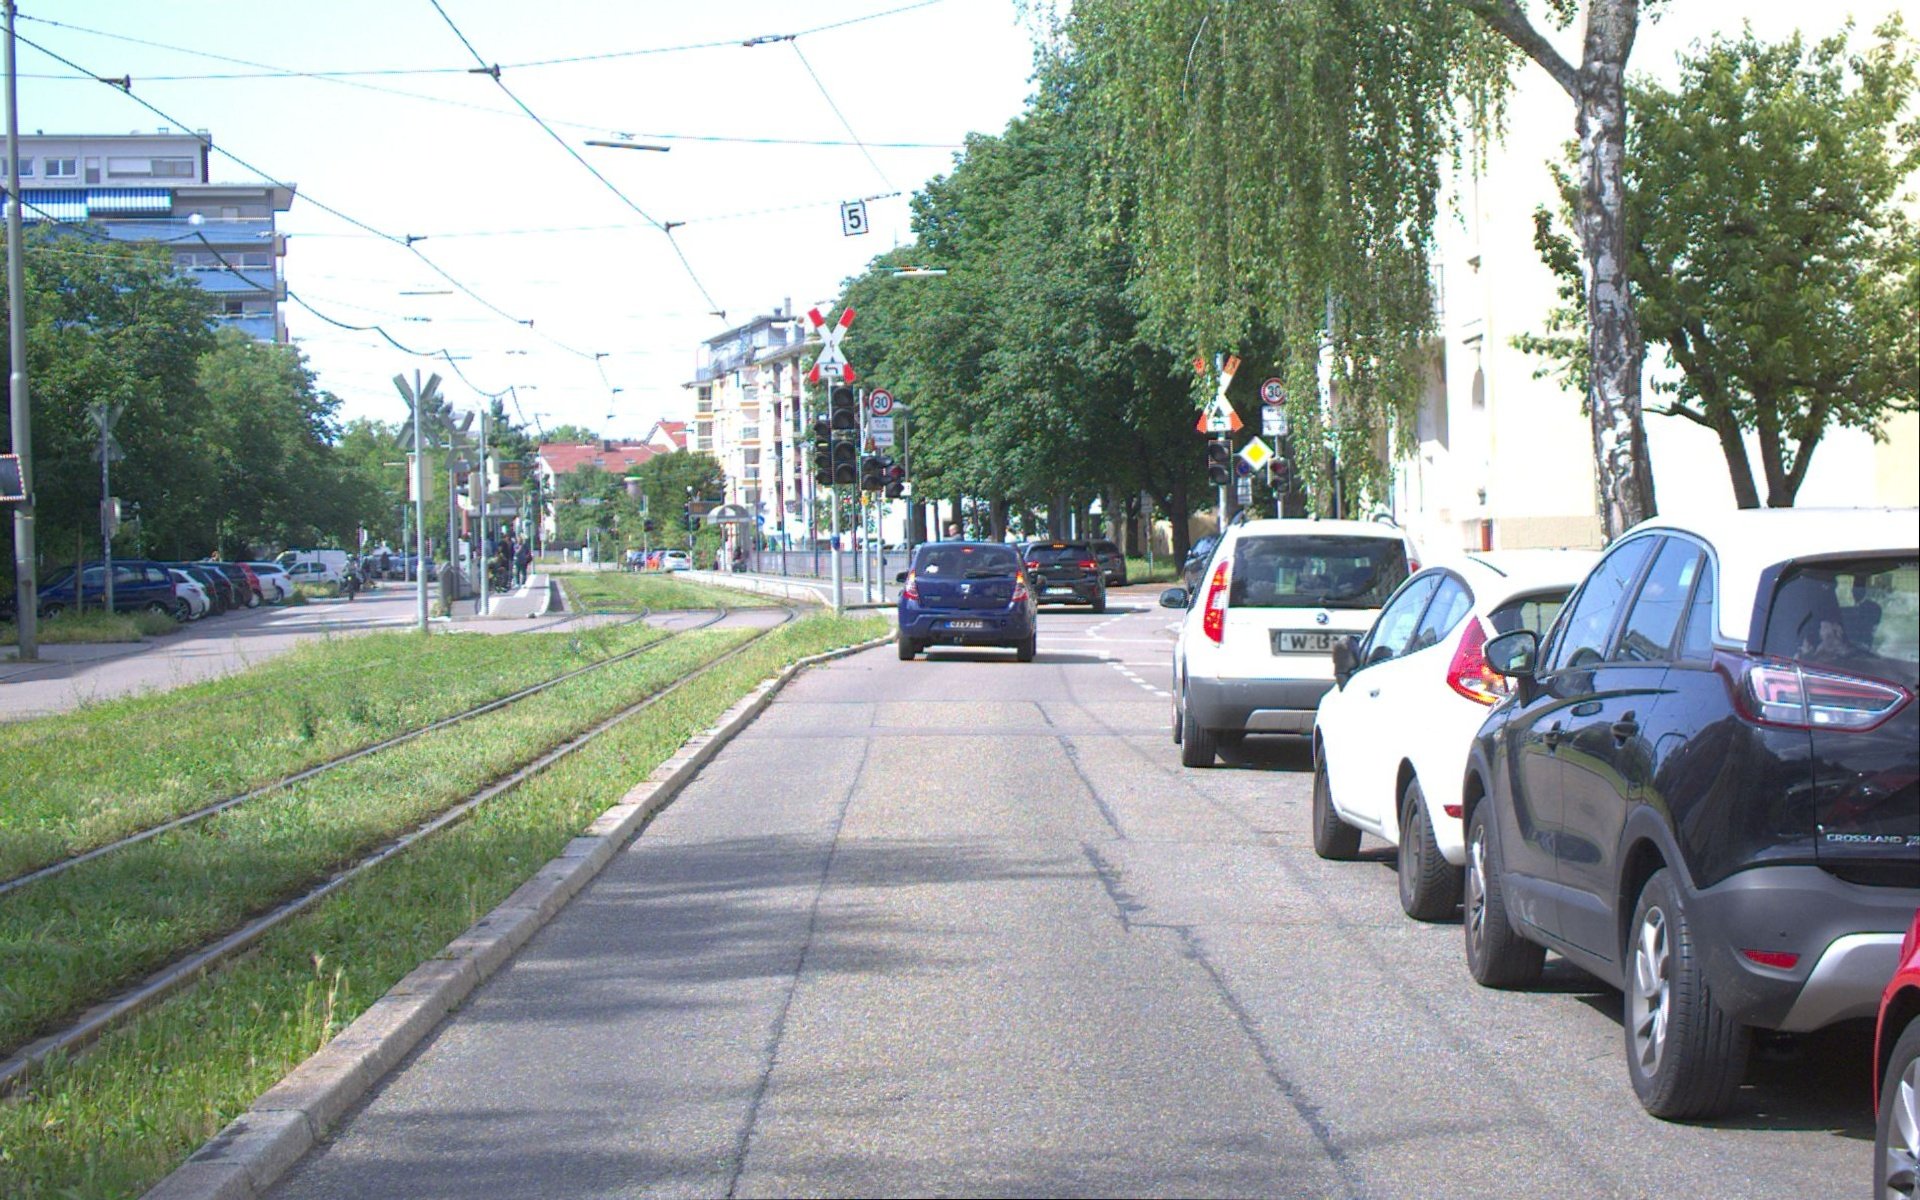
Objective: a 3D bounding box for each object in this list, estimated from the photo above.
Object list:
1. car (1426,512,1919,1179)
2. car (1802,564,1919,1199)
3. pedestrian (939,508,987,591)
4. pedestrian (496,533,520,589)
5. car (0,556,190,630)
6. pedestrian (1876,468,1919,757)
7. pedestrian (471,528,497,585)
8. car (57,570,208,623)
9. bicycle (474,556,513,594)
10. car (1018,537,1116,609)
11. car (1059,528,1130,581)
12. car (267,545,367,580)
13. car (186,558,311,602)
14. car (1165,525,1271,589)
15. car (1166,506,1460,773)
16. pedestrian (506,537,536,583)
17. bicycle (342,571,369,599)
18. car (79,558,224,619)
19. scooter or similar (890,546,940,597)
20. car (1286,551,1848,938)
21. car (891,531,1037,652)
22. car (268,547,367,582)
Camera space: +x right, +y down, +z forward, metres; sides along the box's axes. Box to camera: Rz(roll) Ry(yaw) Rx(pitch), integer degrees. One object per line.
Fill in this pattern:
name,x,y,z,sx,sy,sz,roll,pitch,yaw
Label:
car,2.427,0.554,10.030,1.493,1.574,3.759,1,1,-2
car,2.573,0.711,5.194,1.589,1.447,3.844,2,1,0
pedestrian,0.059,-1.101,75.321,0.870,1.769,1.004,-3,1,-5
pedestrian,-14.150,-1.226,107.667,0.604,1.760,0.639,-1,1,3
car,-20.477,-0.179,81.246,1.724,1.635,4.122,0,1,45
pedestrian,5.888,0.049,20.276,0.730,1.677,0.691,-3,1,3
pedestrian,-14.155,-1.299,102.237,0.655,1.686,0.656,-2,1,-5
car,-21.003,-0.088,87.320,1.543,1.232,3.380,0,1,45
bicycle,-12.948,-0.692,95.475,0.686,0.971,1.771,-4,1,4
car,2.110,-0.554,68.408,1.700,1.363,3.515,1,1,-2
car,4.006,-1.375,103.175,1.861,1.440,4.000,-3,1,-1
car,-28.261,-1.641,151.171,3.989,1.442,1.727,-2,1,-40
car,-24.996,-0.717,120.793,1.715,1.363,3.990,-1,1,43
car,6.165,-1.043,82.643,1.765,1.428,3.905,-2,1,-7
car,2.312,0.210,23.360,1.721,1.624,4.000,1,1,2
pedestrian,-13.848,-1.259,108.428,0.655,1.421,0.562,-1,1,31
bicycle,-22.443,-0.564,127.604,0.680,0.967,2.179,-2,1,-2
car,-21.330,-0.302,90.742,3.380,1.500,1.543,-2,1,-44
scooter or similar,-0.978,-0.618,74.978,0.954,1.061,0.797,-3,1,-6
car,2.478,0.521,14.914,1.672,1.412,3.795,2,1,-1
car,0.083,-0.137,44.098,1.768,1.457,3.775,-1,1,1
car,-27.263,-1.524,145.870,1.638,1.381,3.991,0,1,39
